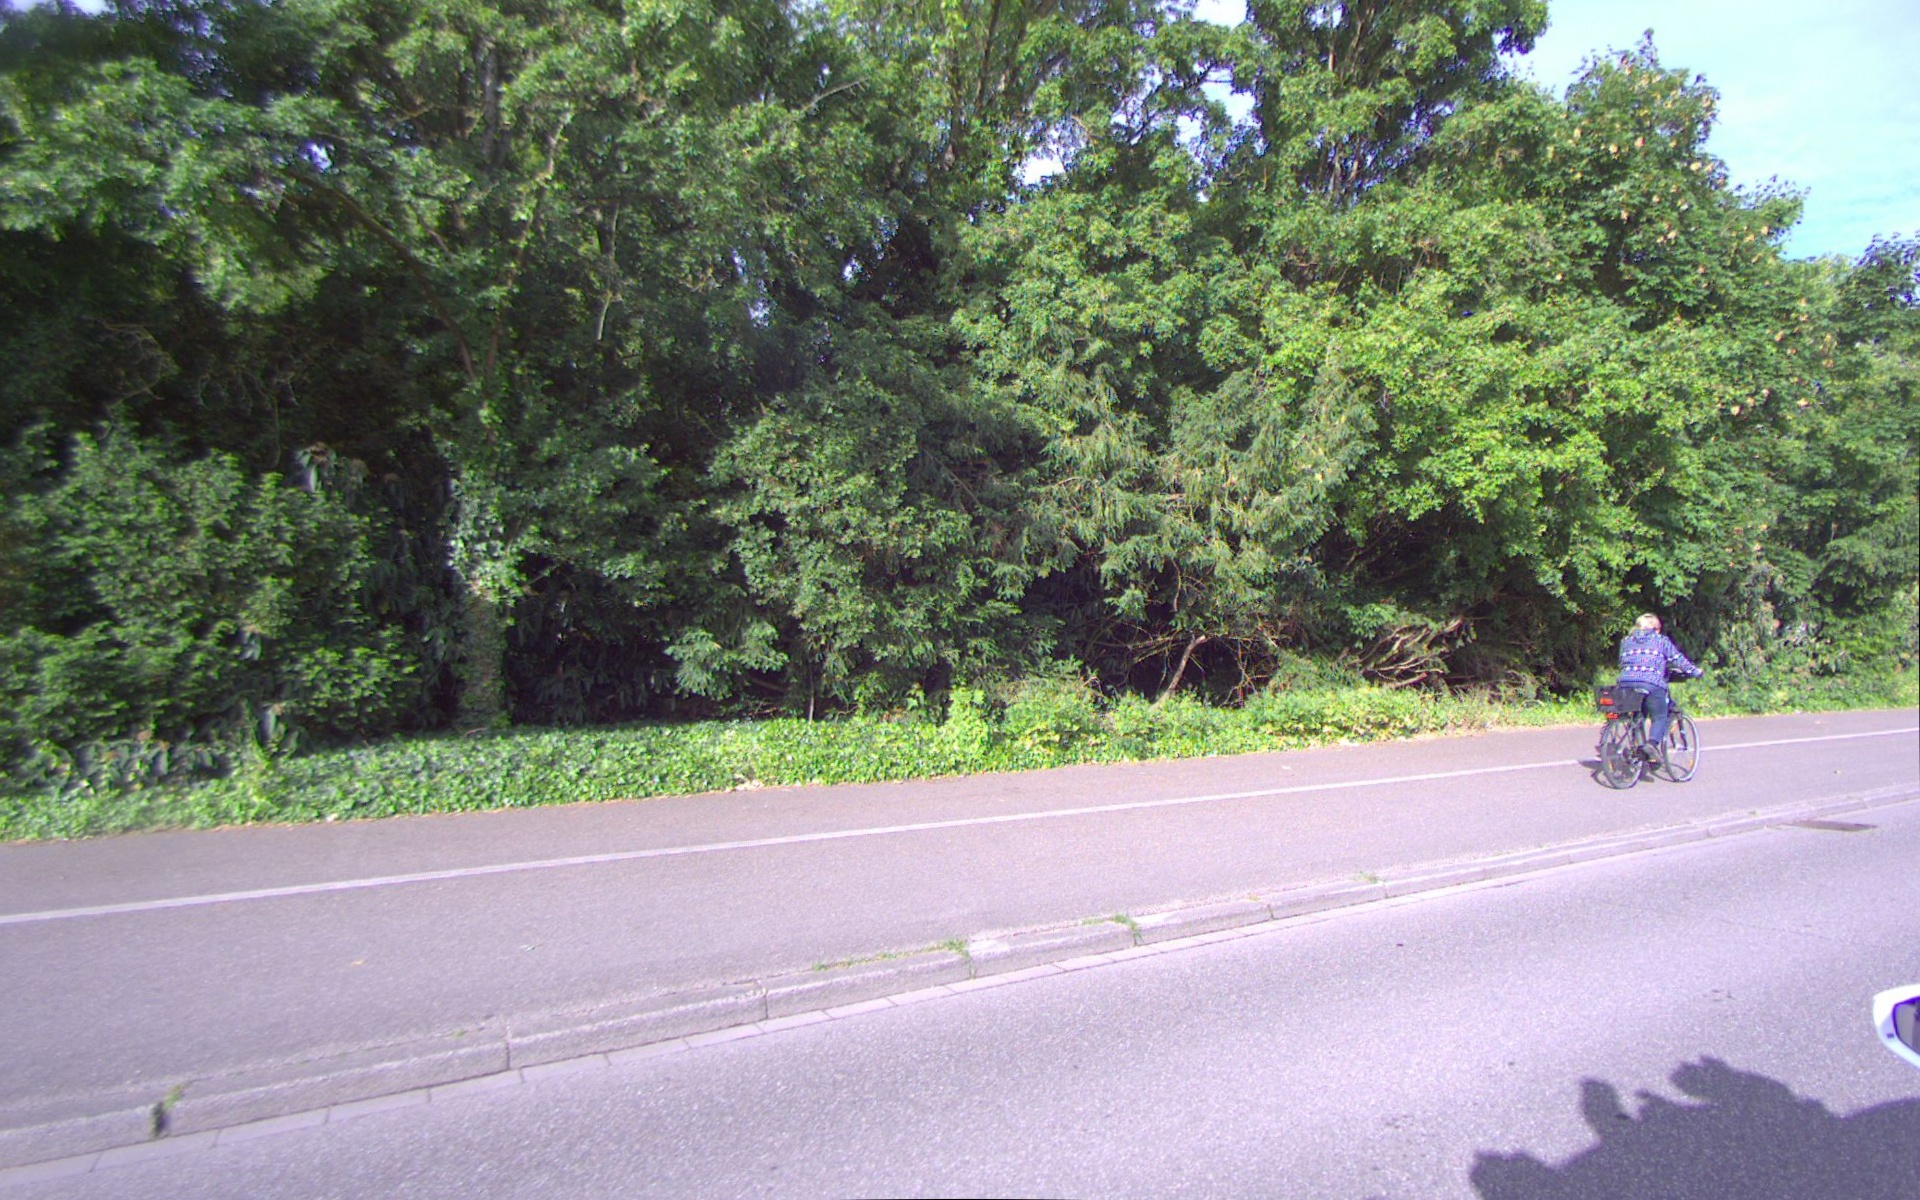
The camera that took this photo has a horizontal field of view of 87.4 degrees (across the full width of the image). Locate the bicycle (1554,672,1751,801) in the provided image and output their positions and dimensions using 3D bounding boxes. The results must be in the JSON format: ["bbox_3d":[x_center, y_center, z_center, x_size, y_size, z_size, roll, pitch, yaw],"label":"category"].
[{"bbox_3d":[7.023,1.320,10.145,2.320,1.112,0.659,1,0,-29],"label":"bicycle"}]

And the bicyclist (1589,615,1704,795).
[{"bbox_3d":[6.848,1.015,10.027,0.873,1.699,0.606,1,0,-29],"label":"bicyclist"}]
